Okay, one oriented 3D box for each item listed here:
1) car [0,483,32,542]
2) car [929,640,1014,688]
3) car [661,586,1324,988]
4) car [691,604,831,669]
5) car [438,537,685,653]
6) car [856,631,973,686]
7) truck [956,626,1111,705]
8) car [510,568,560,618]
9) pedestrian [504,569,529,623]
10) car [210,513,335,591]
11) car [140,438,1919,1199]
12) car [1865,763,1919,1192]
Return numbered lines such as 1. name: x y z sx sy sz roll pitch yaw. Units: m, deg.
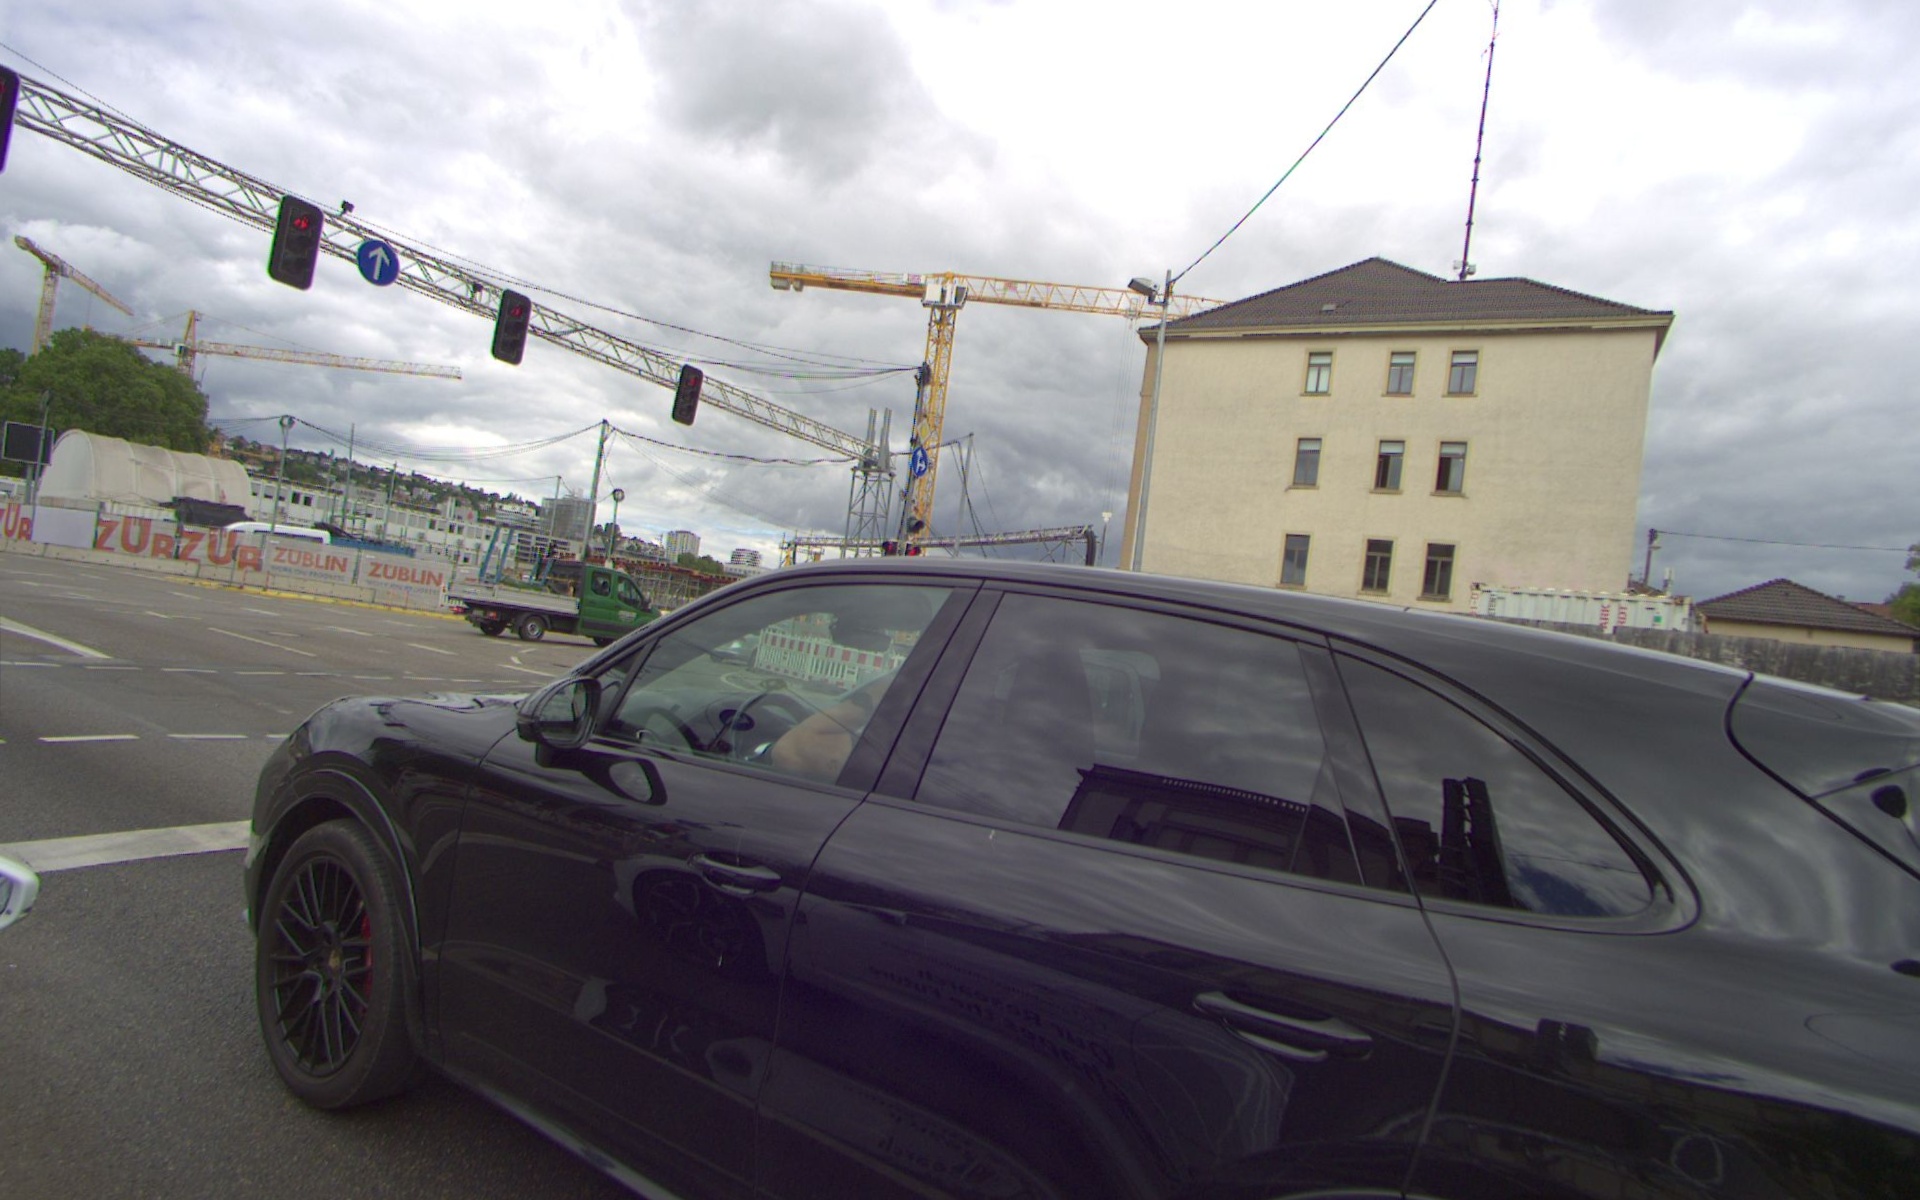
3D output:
1. car: -54.088 -5.125 53.360 2.327 3.087 6.769 7 -2 14
2. car: 0.607 3.166 49.427 1.803 1.903 4.267 6 -2 39
3. car: 0.114 0.983 6.668 3.934 1.644 1.679 6 -2 32
4. car: -6.519 1.266 33.503 1.654 1.643 4.719 6 -2 32
5. car: -10.504 -0.033 27.090 2.266 2.331 5.769 6 -2 32
6. car: -1.695 2.308 39.203 1.988 1.643 4.816 6 -2 33
7. truck: 3.751 3.260 48.407 2.588 2.835 8.984 7 -3 39
8. car: -19.167 -0.319 45.301 1.757 1.976 3.108 8 -2 -25
9. pedestrian: -17.199 -0.150 39.041 0.580 1.999 0.433 8 -1 -17
10. car: -29.577 -2.039 43.372 1.660 2.692 3.979 6 -2 45
11. car: -0.046 0.662 2.671 4.410 1.735 1.828 6 -2 32
12. car: 5.766 1.684 2.574 4.729 1.644 1.828 6 -2 32
